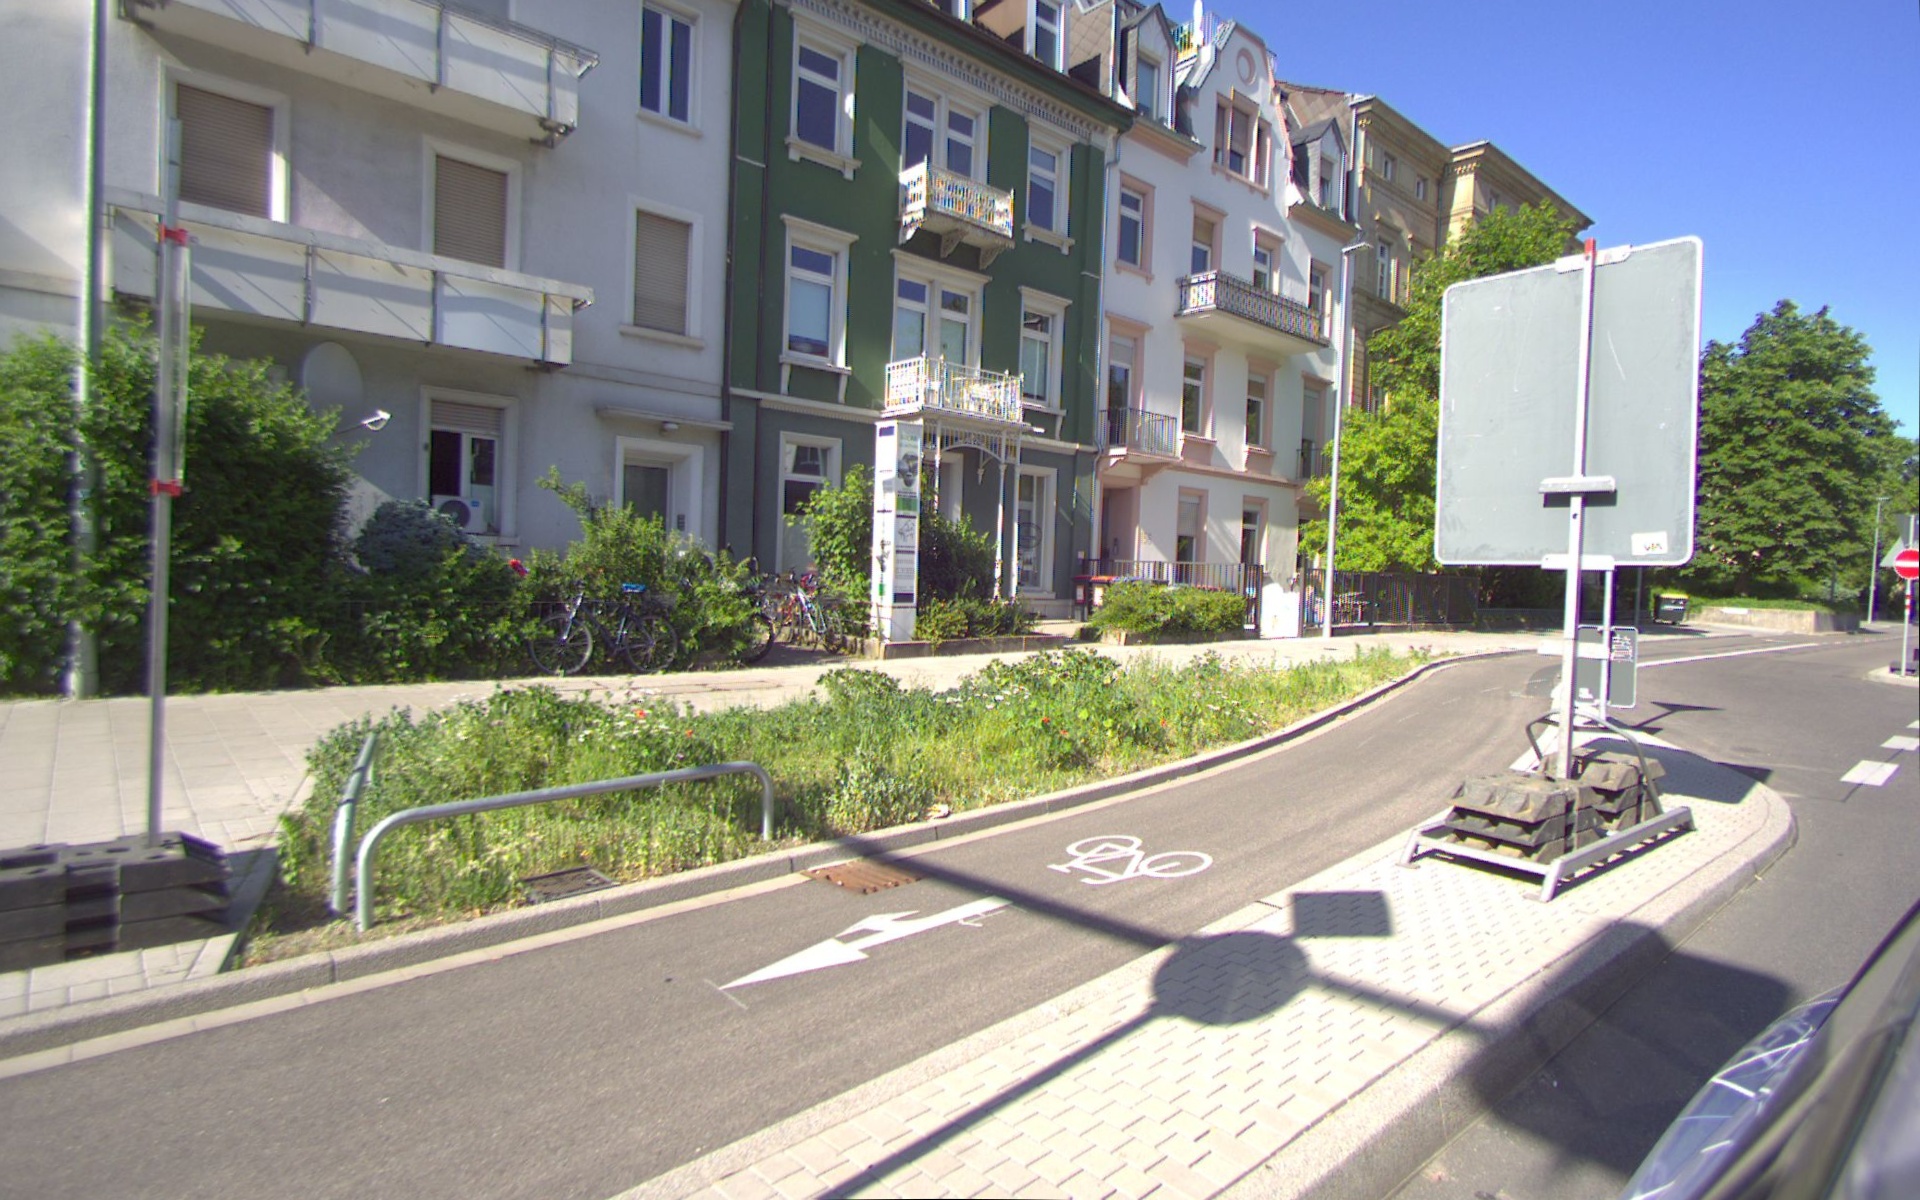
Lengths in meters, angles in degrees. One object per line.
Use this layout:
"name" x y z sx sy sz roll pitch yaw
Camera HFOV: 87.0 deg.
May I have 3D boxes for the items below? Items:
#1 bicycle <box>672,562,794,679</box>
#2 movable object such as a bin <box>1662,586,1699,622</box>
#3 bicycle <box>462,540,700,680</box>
"bicycle" -3.250 0.243 14.321 0.627 1.503 2.258 1 1 -42
"movable object such as a bin" 30.337 0.159 42.645 0.964 1.415 1.276 5 2 26
"bicycle" -4.294 0.123 11.650 2.448 1.462 0.709 1 0 -42
